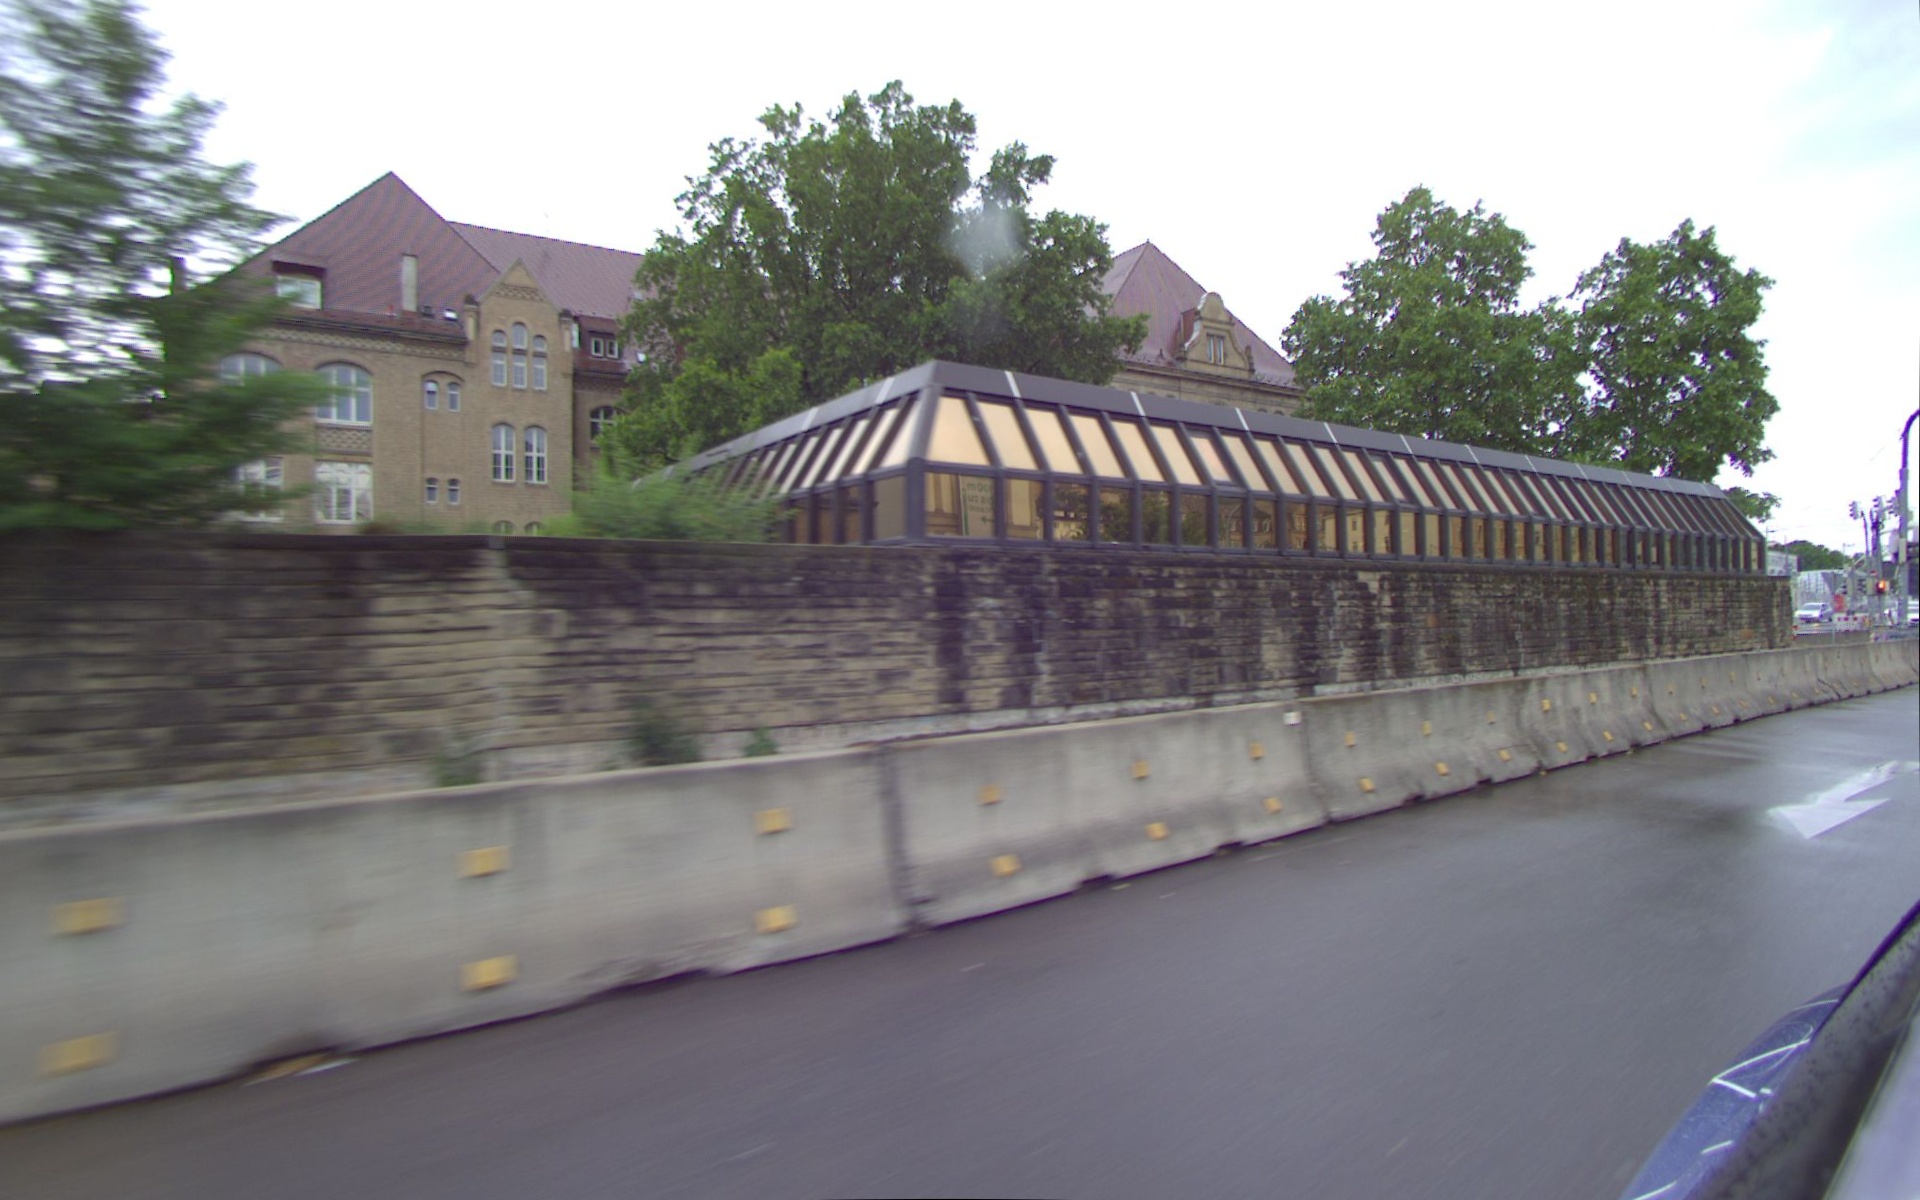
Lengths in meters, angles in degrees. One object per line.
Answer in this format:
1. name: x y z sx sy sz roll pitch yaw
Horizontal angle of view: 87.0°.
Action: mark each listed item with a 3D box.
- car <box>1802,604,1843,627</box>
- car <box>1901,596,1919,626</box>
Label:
1. car: 70.919 1.267 83.211 4.284 1.795 1.994 0 -4 -44
2. car: 68.670 0.752 71.734 1.984 2.040 4.372 -4 -3 32
